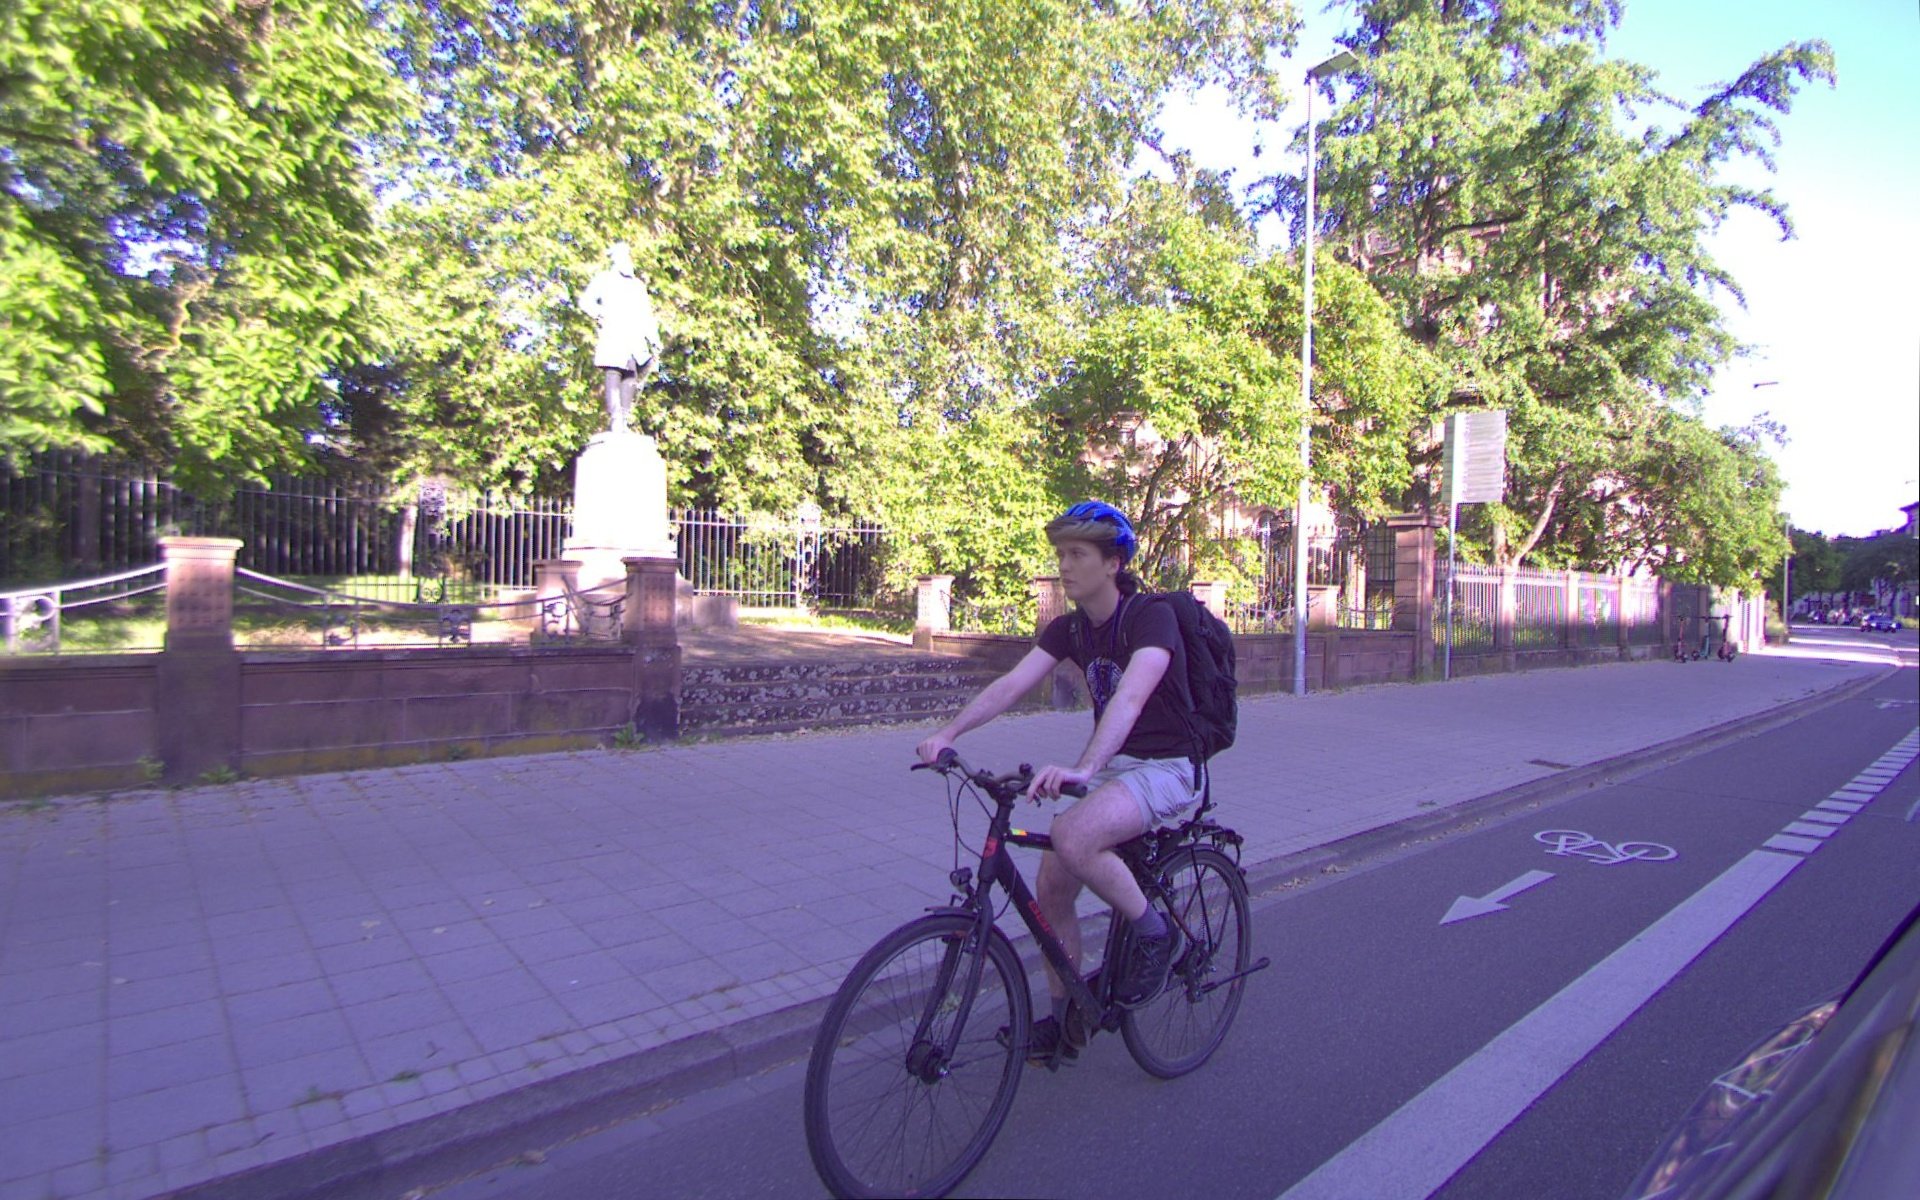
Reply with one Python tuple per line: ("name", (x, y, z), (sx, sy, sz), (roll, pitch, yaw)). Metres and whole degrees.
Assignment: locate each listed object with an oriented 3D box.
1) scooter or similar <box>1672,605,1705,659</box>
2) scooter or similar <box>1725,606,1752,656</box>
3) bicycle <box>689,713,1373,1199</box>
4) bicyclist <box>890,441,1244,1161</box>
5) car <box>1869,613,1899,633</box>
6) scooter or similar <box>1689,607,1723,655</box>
("scooter or similar", (18.205, 0.773, 25.320), (0.572, 1.269, 1.470), (2, 1, 34))
("scooter or similar", (20.665, 0.807, 26.873), (0.514, 1.255, 1.502), (2, 1, 37))
("bicycle", (0.345, 0.924, 2.818), (2.045, 1.022, 0.669), (1, -1, -42))
("bicyclist", (0.293, 0.452, 2.774), (0.708, 1.622, 0.666), (1, -1, -41))
("car", (74.005, 1.827, 81.080), (1.704, 1.422, 4.199), (3, 2, 42))
("scooter or similar", (19.562, 0.796, 26.533), (0.574, 1.199, 1.465), (2, 1, 42))
